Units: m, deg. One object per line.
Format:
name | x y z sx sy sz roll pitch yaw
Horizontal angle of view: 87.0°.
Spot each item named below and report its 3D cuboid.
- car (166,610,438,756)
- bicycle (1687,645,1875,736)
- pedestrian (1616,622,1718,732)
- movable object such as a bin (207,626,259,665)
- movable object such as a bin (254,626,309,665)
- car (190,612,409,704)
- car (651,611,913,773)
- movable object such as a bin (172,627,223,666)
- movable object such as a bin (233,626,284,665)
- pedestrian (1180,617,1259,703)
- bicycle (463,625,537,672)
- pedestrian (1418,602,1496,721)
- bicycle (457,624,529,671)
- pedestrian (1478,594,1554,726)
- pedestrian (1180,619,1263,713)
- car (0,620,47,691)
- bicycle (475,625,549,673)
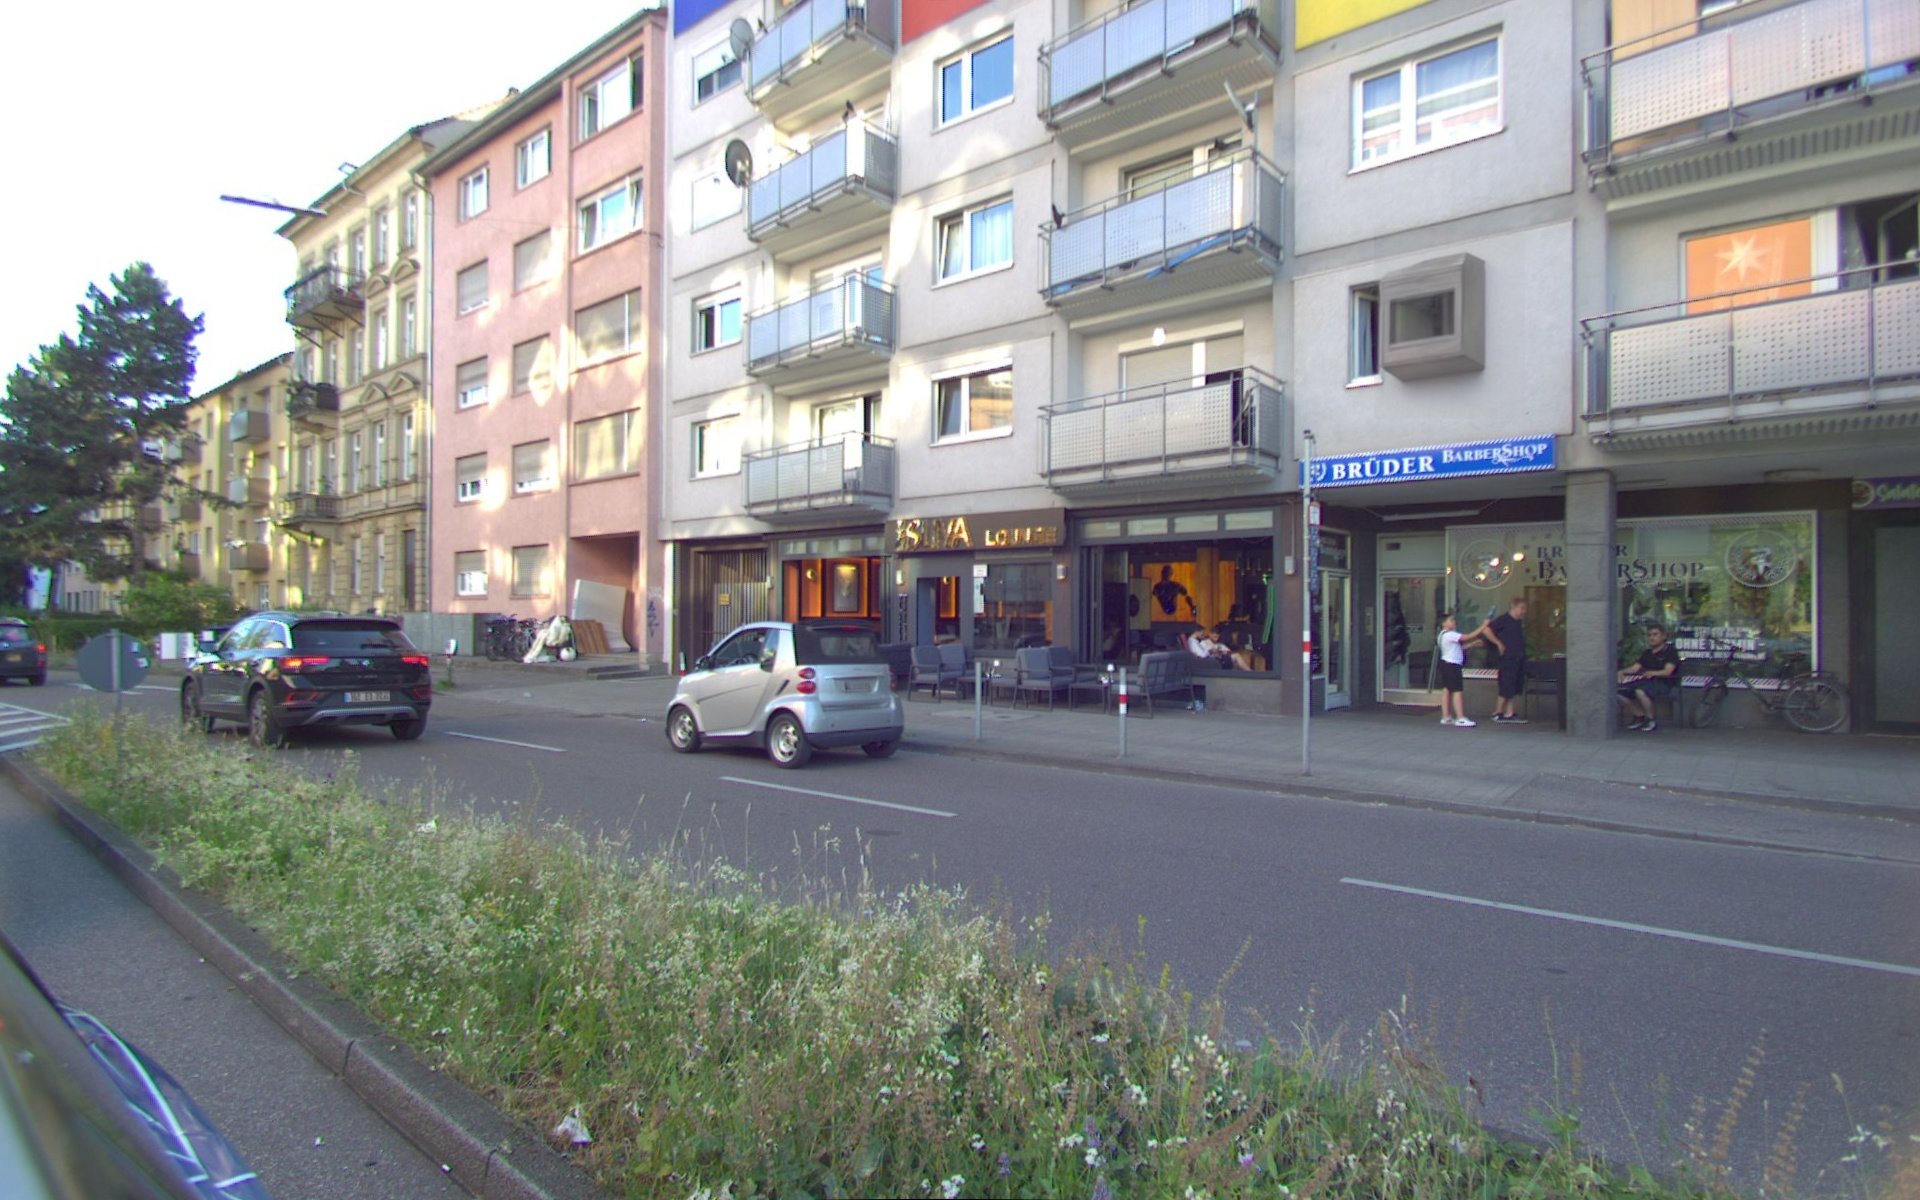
car | -8.383 0.964 12.759 4.097 1.556 1.659 -1 -3 39
bicycle | 9.965 1.077 12.366 1.691 1.006 0.620 0 -1 32
pedestrian | 8.787 0.939 12.605 0.798 1.323 0.626 0 -1 -3
movable object such as a bin | -23.680 1.477 33.001 0.837 1.242 1.193 0 -1 1
movable object such as a bin | -21.883 1.453 32.657 0.916 1.242 1.292 0 -1 1
car | -12.894 1.087 19.736 4.080 1.641 1.710 -1 -3 26
car | -2.072 0.970 11.544 2.807 1.605 1.519 -2 -3 41
movable object such as a bin | -24.604 1.490 32.669 0.836 1.242 1.195 0 -1 -8
movable object such as a bin | -22.810 1.466 32.942 0.837 1.242 1.193 0 -1 1
pedestrian | 4.275 0.965 16.667 0.974 1.357 0.871 -1 -2 40
bicycle | -12.172 1.261 26.825 0.473 1.200 1.758 -1 -2 38
pedestrian | 6.395 0.776 13.026 0.647 1.478 0.627 1 -2 -28
bicycle | -12.560 1.265 27.263 0.473 1.200 1.758 -1 -2 38
pedestrian | 7.318 0.776 13.351 0.650 1.685 0.625 0 -1 5
pedestrian | 3.973 0.971 15.354 0.882 1.357 0.961 -1 -2 40
car | -21.839 1.188 22.237 3.972 1.482 1.580 -1 -2 32
bicycle | -11.629 1.247 26.331 0.473 1.200 1.758 -1 -2 38
